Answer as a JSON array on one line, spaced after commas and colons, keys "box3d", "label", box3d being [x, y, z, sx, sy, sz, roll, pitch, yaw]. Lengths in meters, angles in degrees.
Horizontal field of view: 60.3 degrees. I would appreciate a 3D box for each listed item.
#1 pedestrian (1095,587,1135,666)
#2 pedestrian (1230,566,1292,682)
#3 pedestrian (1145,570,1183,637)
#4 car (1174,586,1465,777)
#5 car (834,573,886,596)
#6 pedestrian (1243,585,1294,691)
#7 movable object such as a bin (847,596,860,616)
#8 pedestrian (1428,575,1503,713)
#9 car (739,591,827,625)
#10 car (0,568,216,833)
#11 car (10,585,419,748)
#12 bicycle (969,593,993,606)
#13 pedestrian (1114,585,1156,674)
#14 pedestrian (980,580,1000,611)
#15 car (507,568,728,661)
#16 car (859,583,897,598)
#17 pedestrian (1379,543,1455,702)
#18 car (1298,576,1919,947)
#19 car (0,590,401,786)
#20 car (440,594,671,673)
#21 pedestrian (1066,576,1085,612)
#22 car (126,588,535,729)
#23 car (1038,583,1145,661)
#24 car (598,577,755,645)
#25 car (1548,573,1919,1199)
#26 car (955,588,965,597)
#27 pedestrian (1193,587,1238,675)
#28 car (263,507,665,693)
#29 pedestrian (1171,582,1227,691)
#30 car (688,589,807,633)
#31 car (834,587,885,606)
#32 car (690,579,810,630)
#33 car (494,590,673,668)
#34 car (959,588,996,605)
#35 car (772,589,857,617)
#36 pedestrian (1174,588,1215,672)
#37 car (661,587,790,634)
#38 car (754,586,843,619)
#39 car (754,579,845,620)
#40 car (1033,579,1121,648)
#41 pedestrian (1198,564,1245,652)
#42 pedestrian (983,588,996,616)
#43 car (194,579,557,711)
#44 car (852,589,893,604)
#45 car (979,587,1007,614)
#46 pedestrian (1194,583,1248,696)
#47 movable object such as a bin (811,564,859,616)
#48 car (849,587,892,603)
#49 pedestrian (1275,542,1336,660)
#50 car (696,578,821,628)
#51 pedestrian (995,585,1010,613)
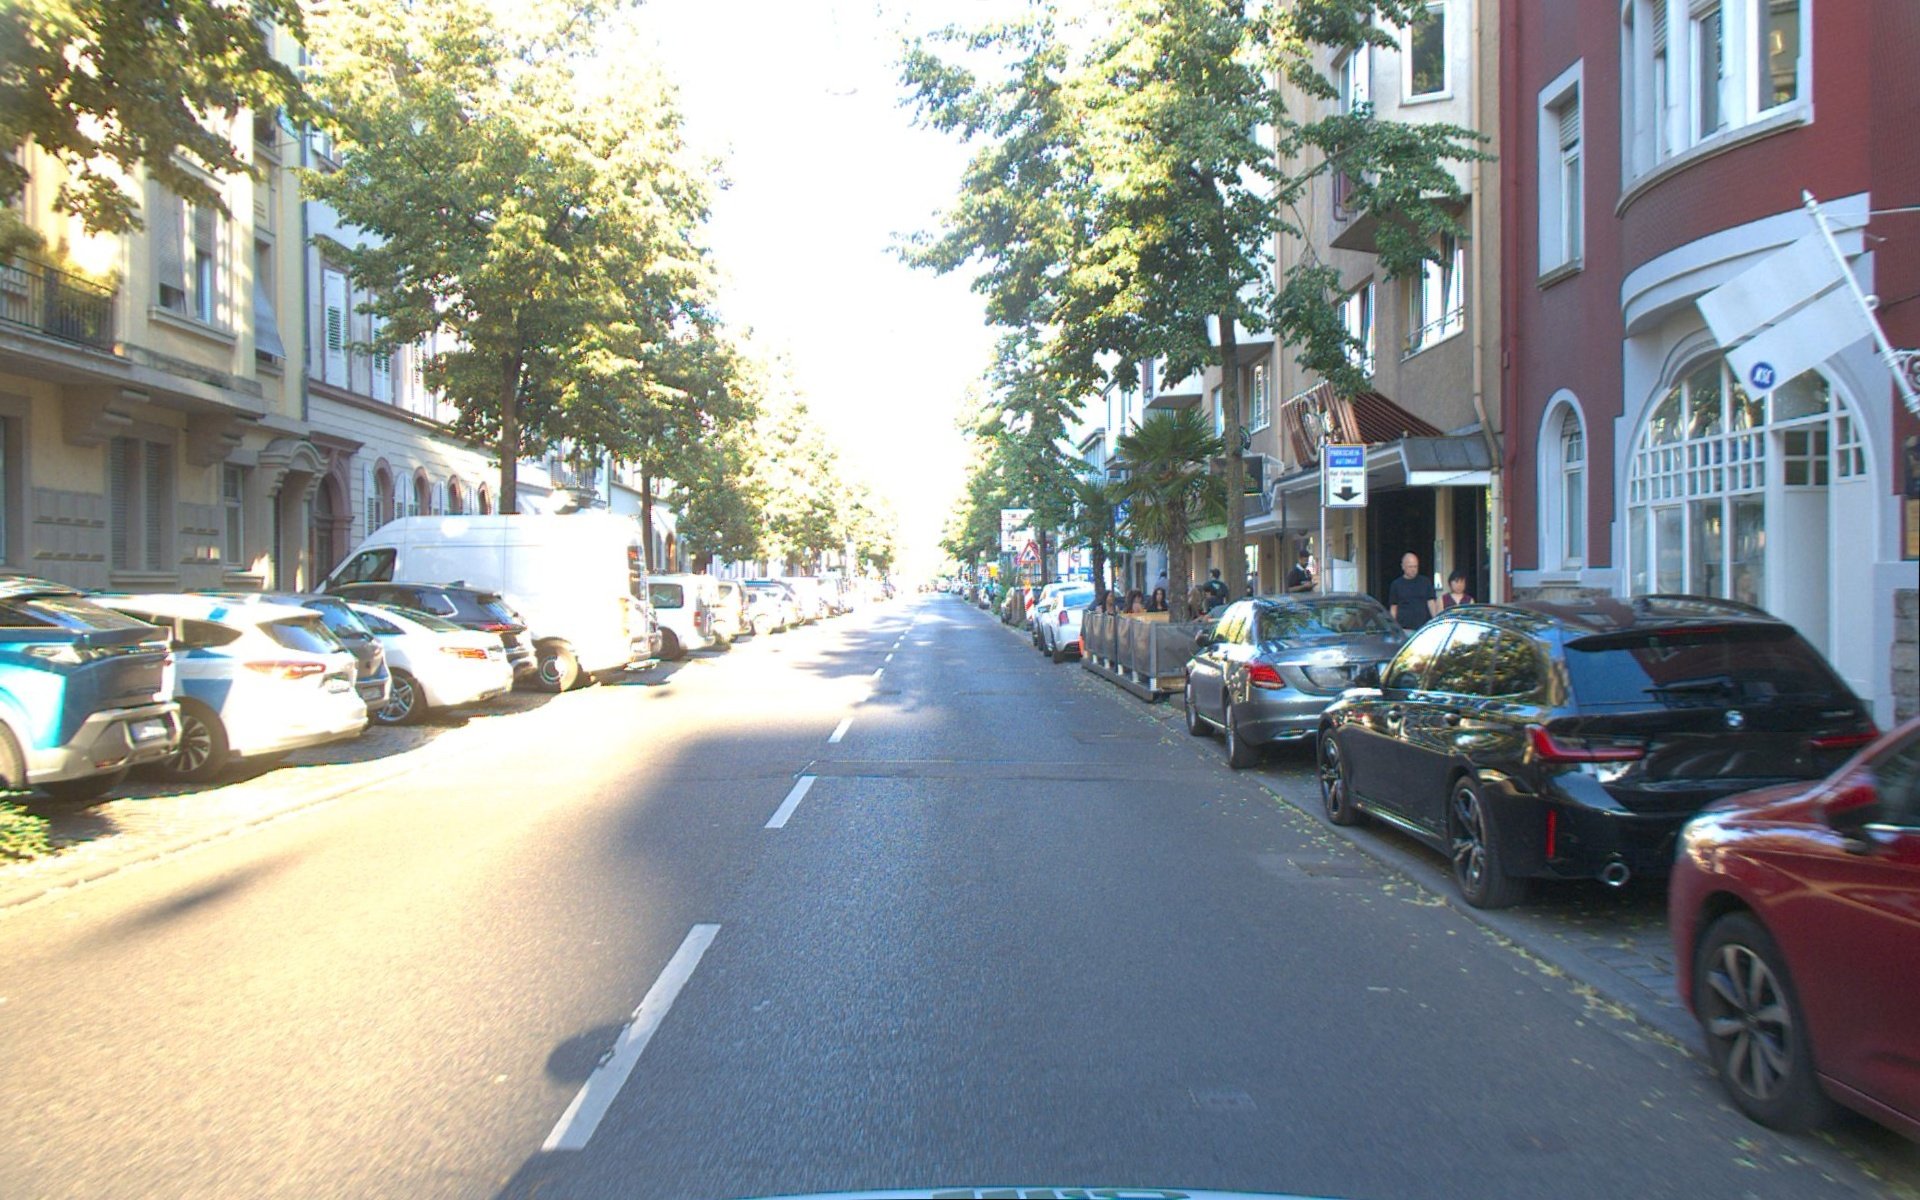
[{"box3d": [2.698, 0.450, 28.829, 0.565, 1.342, 0.704, -2, 0, -1], "label": "pedestrian"}, {"box3d": [4.338, 0.336, 23.877, 0.693, 1.626, 0.795, -2, 0, -1], "label": "pedestrian"}, {"box3d": [5.681, 0.105, 46.122, 0.839, 1.825, 0.996, -1, 0, -4], "label": "pedestrian"}, {"box3d": [3.239, 0.639, 15.905, 1.738, 1.465, 5.001, -3, 0, 1], "label": "car"}, {"box3d": [-8.843, -1.349, 146.779, 4.479, 1.996, 1.990, 0, 0, -1], "label": "car"}, {"box3d": [4.102, 0.494, 21.988, 0.536, 1.368, 0.438, -2, 0, -1], "label": "pedestrian"}, {"box3d": [-6.080, 0.331, 94.322, 0.675, 1.124, 0.883, -1, 0, 1], "label": "movable object such as a bin"}, {"box3d": [5.706, 0.482, 18.703, 0.611, 1.514, 0.640, -2, 0, 0], "label": "pedestrian"}, {"box3d": [-8.170, 0.343, 76.640, 3.841, 1.527, 1.905, 0, 0, 1], "label": "car"}, {"box3d": [-7.592, 0.607, 11.301, 4.148, 1.679, 1.891, 1, 0, -5], "label": "car"}, {"box3d": [-7.587, 0.638, 17.062, 3.337, 1.536, 1.847, 1, 0, 2], "label": "car"}, {"box3d": [1.763, -0.078, 140.636, 1.918, 1.092, 0.704, 0, 0, 31], "label": "bicycle"}, {"box3d": [2.863, 0.478, 27.137, 0.565, 1.409, 0.603, -2, 0, -1], "label": "pedestrian"}, {"box3d": [1.856, -0.289, 103.013, 0.995, 1.857, 0.778, -3, 0, -11], "label": "pedestrian"}, {"box3d": [-7.446, 0.301, 36.265, 4.407, 1.987, 1.919, 0, 0, 1], "label": "car"}, {"box3d": [-9.616, -1.090, 194.881, 4.351, 1.790, 1.919, 0, 0, 0], "label": "car"}, {"box3d": [5.057, 0.245, 18.315, 0.611, 1.706, 0.640, -2, 0, 0], "label": "pedestrian"}, {"box3d": [3.303, 0.675, 9.291, 1.739, 1.496, 4.416, -3, 0, -2], "label": "car"}, {"box3d": [-7.177, 0.694, 14.165, 4.101, 1.508, 1.970, 1, 0, -2], "label": "car"}, {"box3d": [-7.514, 0.621, 30.983, 3.907, 1.429, 1.749, 0, -1, -3], "label": "car"}, {"box3d": [6.132, -0.324, 87.610, 0.806, 1.886, 1.097, -3, 0, -2], "label": "pedestrian"}, {"box3d": [-7.340, 0.655, 19.590, 4.127, 1.532, 1.792, 1, 0, -1], "label": "car"}, {"box3d": [2.828, 0.432, 36.680, 1.804, 1.506, 5.189, -3, 0, -1], "label": "car"}, {"box3d": [-7.934, 0.303, 46.503, 4.053, 1.838, 1.807, 0, 0, 1], "label": "car"}, {"box3d": [3.164, 0.703, 3.924, 1.687, 1.518, 4.751, -3, 0, -1], "label": "car"}, {"box3d": [-0.014, -1.123, 244.897, 1.482, 1.298, 3.303, 0, 0, 0], "label": "car"}, {"box3d": [4.164, 0.497, 27.029, 0.565, 1.409, 0.718, -2, 0, -1], "label": "pedestrian"}, {"box3d": [-7.551, -0.009, 25.638, 5.543, 2.667, 2.171, 1, 0, -1], "label": "car"}, {"box3d": [3.449, 0.515, 23.900, 0.618, 1.511, 0.795, -2, 0, -1], "label": "pedestrian"}, {"box3d": [-7.492, 0.383, 58.554, 3.955, 1.509, 1.962, 0, 0, -1], "label": "car"}, {"box3d": [-9.090, -0.306, 149.416, 4.478, 1.727, 2.060, 0, 0, 0], "label": "car"}, {"box3d": [-8.042, 0.159, 63.653, 4.338, 1.902, 1.894, 0, 0, 0], "label": "car"}, {"box3d": [-7.620, 0.577, 33.729, 3.303, 1.492, 1.711, 1, 0, -5], "label": "car"}, {"box3d": [1.796, -0.364, 165.398, 1.645, 1.616, 3.801, 0, 0, 42], "label": "car"}, {"box3d": [-8.096, 0.178, 92.264, 4.499, 1.495, 1.893, 0, 0, 2], "label": "car"}, {"box3d": [4.045, 0.503, 28.521, 0.565, 1.409, 0.603, -2, 0, -1], "label": "pedestrian"}, {"box3d": [-7.572, 0.327, 53.594, 3.978, 1.487, 1.685, 0, 0, -4], "label": "car"}, {"box3d": [-7.772, 0.133, 79.688, 4.242, 1.527, 1.840, 1, 0, -6], "label": "car"}, {"box3d": [-8.097, -0.037, 83.793, 4.392, 2.010, 2.068, 0, 0, 0], "label": "car"}, {"box3d": [2.967, 0.311, 42.662, 1.841, 1.601, 4.691, -3, 0, 0], "label": "car"}, {"box3d": [5.278, 0.157, 33.412, 0.772, 1.734, 0.700, -2, 0, -1], "label": "pedestrian"}, {"box3d": [1.897, 0.109, 105.671, 0.665, 1.785, 0.823, -1, 0, -11], "label": "pedestrian"}, {"box3d": [-7.732, 0.568, 22.169, 4.126, 1.628, 1.975, 1, 0, 0], "label": "car"}, {"box3d": [-9.380, -0.368, 177.506, 4.351, 1.474, 1.919, 0, 0, 0], "label": "car"}, {"box3d": [2.133, 0.019, 108.975, 1.652, 1.602, 4.012, -3, 0, -1], "label": "car"}, {"box3d": [3.509, 0.523, 22.293, 0.565, 1.488, 0.603, -2, 0, -1], "label": "pedestrian"}, {"box3d": [-7.568, -0.600, 100.457, 2.571, 3.021, 5.302, 0, 0, -1], "label": "movable object such as a bin"}, {"box3d": [-9.270, -0.498, 170.984, 4.351, 1.595, 1.919, 0, 0, 0], "label": "car"}, {"box3d": [5.771, 0.007, 27.575, 0.783, 1.916, 0.877, -1, 2, 25], "label": "pedestrian"}, {"box3d": [-8.048, 0.102, 66.341, 4.771, 1.941, 1.973, 0, 0, -1], "label": "car"}, {"box3d": [2.720, -0.060, 105.497, 0.648, 1.730, 0.657, -3, 0, -45], "label": "pedestrian"}]
